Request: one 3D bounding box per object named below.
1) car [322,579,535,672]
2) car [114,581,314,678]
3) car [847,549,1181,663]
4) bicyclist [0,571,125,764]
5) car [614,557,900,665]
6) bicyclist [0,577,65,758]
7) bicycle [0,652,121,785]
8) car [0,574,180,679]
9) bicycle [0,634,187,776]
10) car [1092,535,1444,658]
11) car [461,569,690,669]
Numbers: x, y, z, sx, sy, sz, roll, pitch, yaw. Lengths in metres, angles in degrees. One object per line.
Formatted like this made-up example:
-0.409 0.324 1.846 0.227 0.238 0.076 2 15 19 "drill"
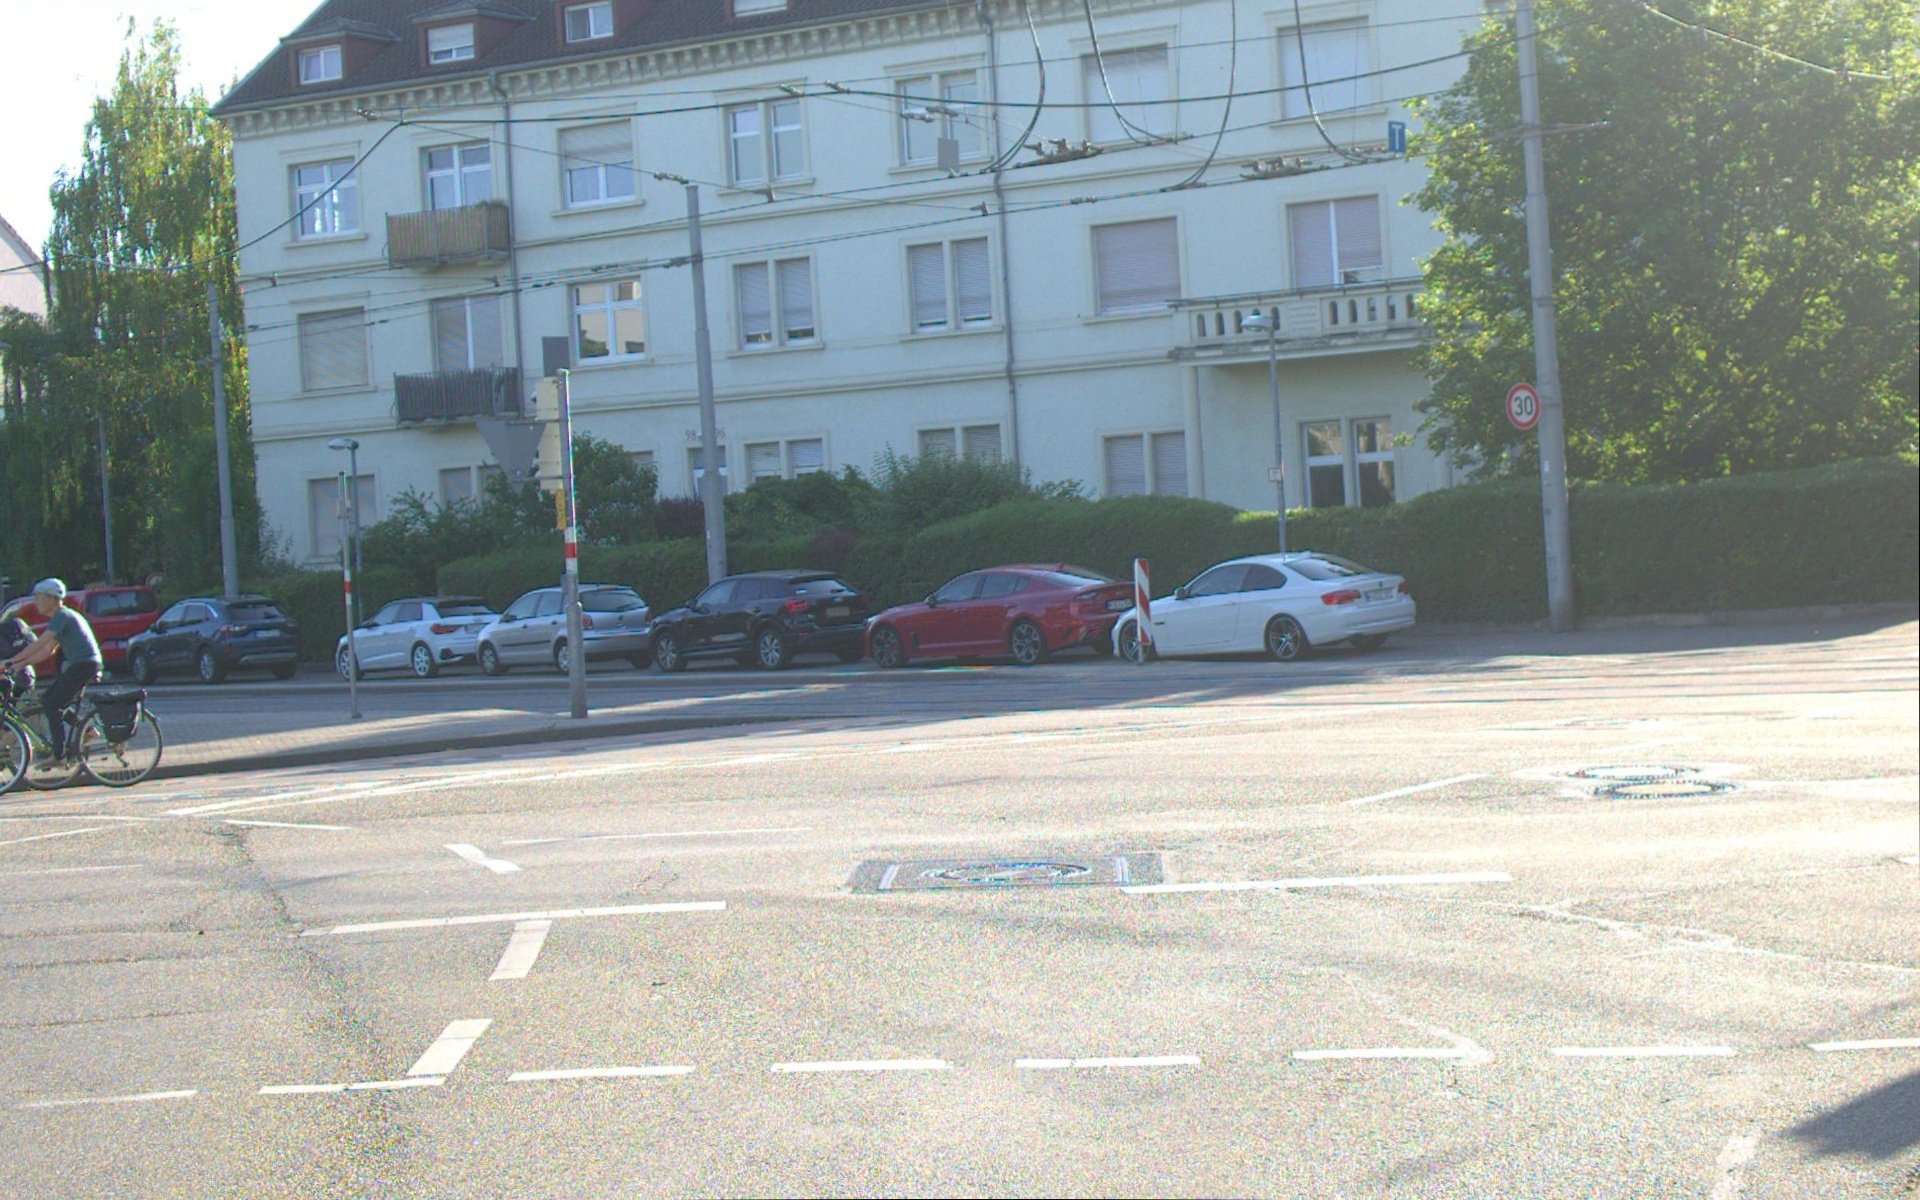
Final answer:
-9.513 0.468 61.378 1.840 1.442 3.957 -7 3 -41 "car"
-14.615 0.601 67.215 1.840 1.662 4.368 -7 3 -41 "car"
0.746 0.102 50.127 4.702 1.371 1.982 -2 3 44 "car"
-7.485 0.548 28.382 1.034 1.526 0.698 -3 1 -11 "bicyclist"
-3.265 0.190 54.637 1.982 1.442 4.703 -7 3 -41 "car"
-8.319 0.589 29.634 1.034 1.526 0.661 -3 1 -9 "bicyclist"
-8.323 1.048 29.667 2.012 1.065 0.664 -3 1 -10 "bicycle"
-18.652 0.584 72.256 2.051 1.955 5.148 -7 3 -41 "car"
-7.446 0.872 28.402 2.012 1.065 0.664 -3 1 -12 "bicycle"
4.086 -0.025 46.131 1.926 1.371 4.494 -7 3 -42 "car"
-6.500 0.324 57.884 1.982 1.442 3.717 -7 3 -41 "car"
